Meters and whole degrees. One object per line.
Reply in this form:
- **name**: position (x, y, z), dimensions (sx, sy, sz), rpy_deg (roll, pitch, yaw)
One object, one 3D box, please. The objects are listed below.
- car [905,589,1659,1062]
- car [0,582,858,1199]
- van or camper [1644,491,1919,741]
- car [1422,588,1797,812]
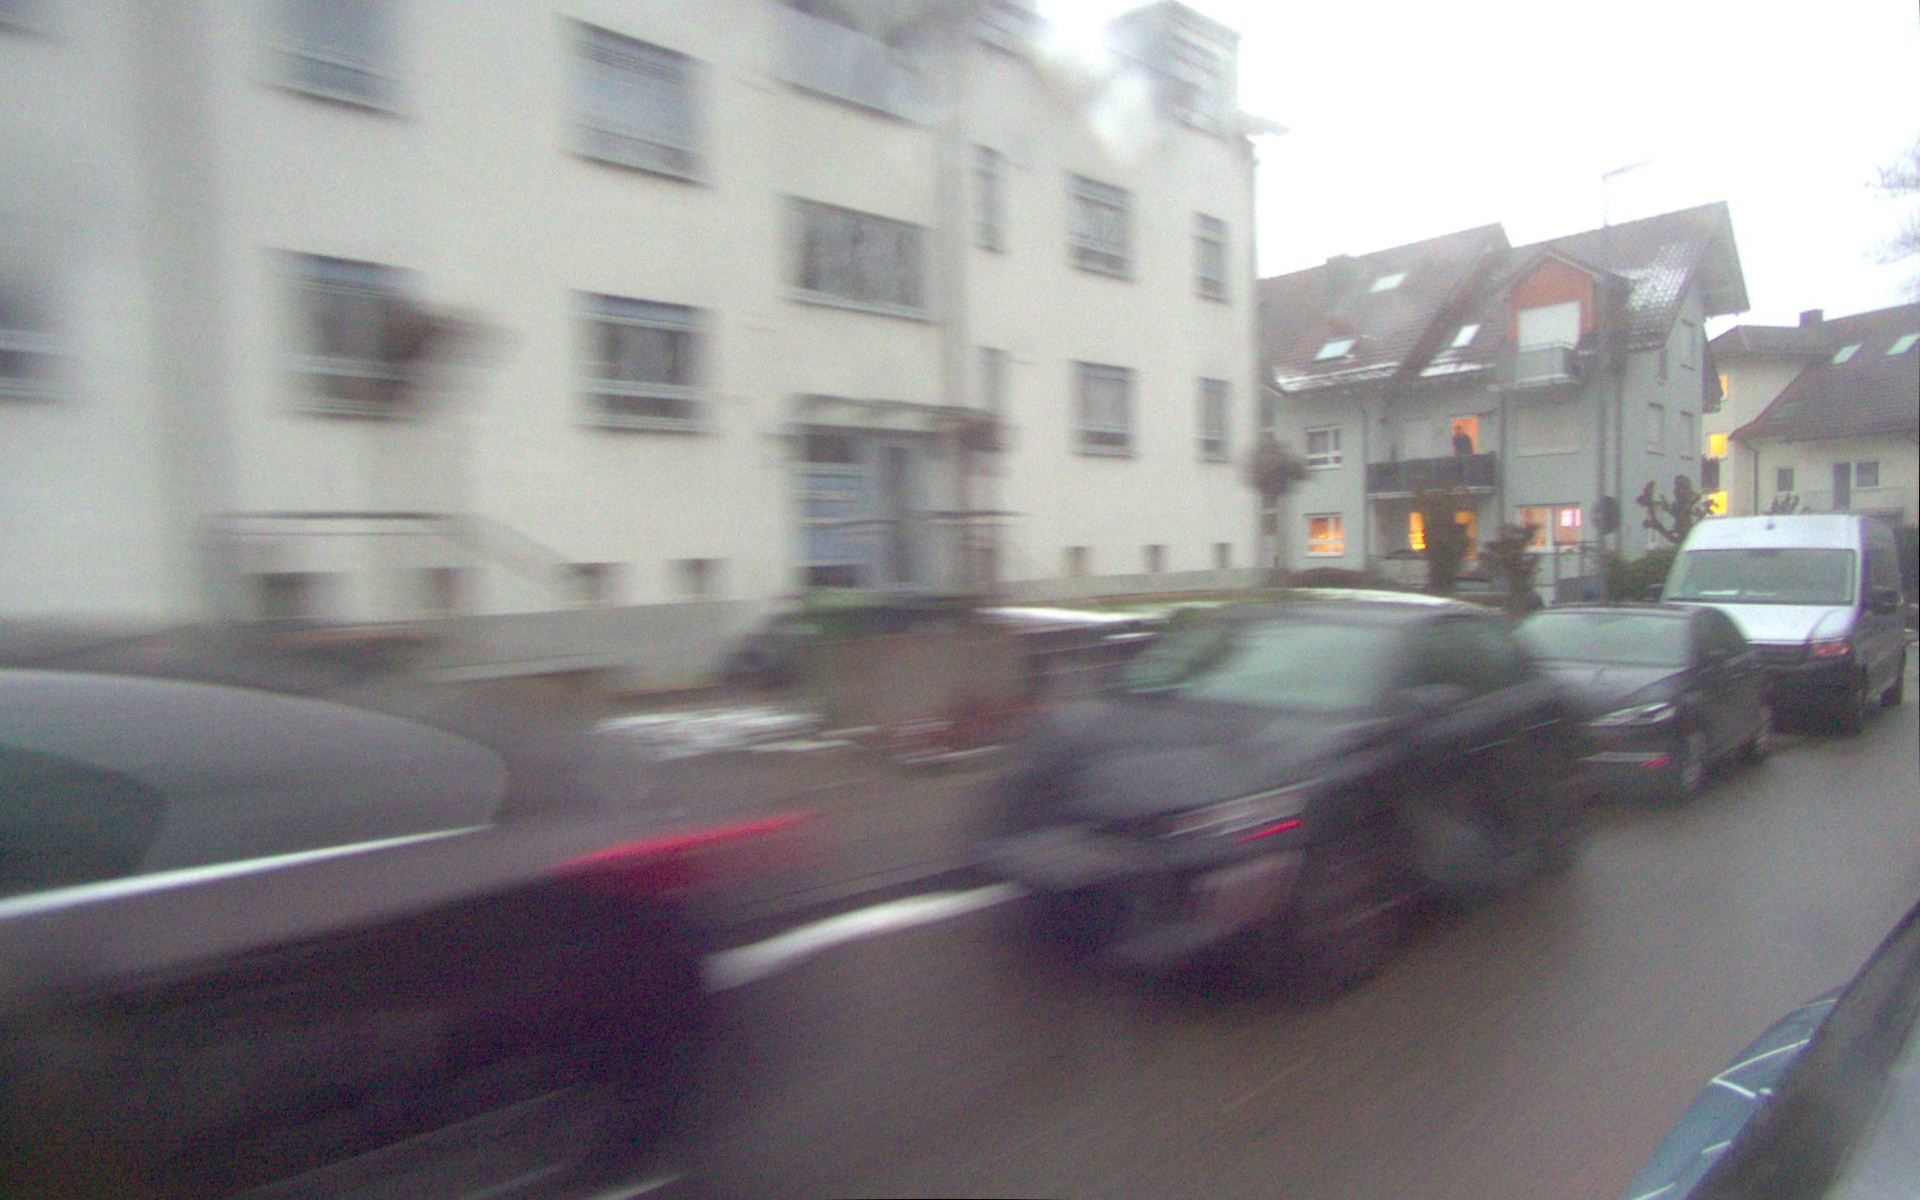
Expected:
- **car**: position (1.976, 0.686, 5.258), dimensions (4.453, 1.407, 1.659), rpy_deg (-1, 2, -41)
- **car**: position (-2.452, 0.725, 1.405), dimensions (4.486, 1.447, 1.658), rpy_deg (-1, 0, -42)
- **van or camper**: position (11.105, 0.106, 13.287), dimensions (6.678, 2.539, 2.017), rpy_deg (-1, 2, -43)
- **car**: position (5.665, 0.633, 8.621), dimensions (4.052, 1.407, 1.658), rpy_deg (-1, 2, -42)
